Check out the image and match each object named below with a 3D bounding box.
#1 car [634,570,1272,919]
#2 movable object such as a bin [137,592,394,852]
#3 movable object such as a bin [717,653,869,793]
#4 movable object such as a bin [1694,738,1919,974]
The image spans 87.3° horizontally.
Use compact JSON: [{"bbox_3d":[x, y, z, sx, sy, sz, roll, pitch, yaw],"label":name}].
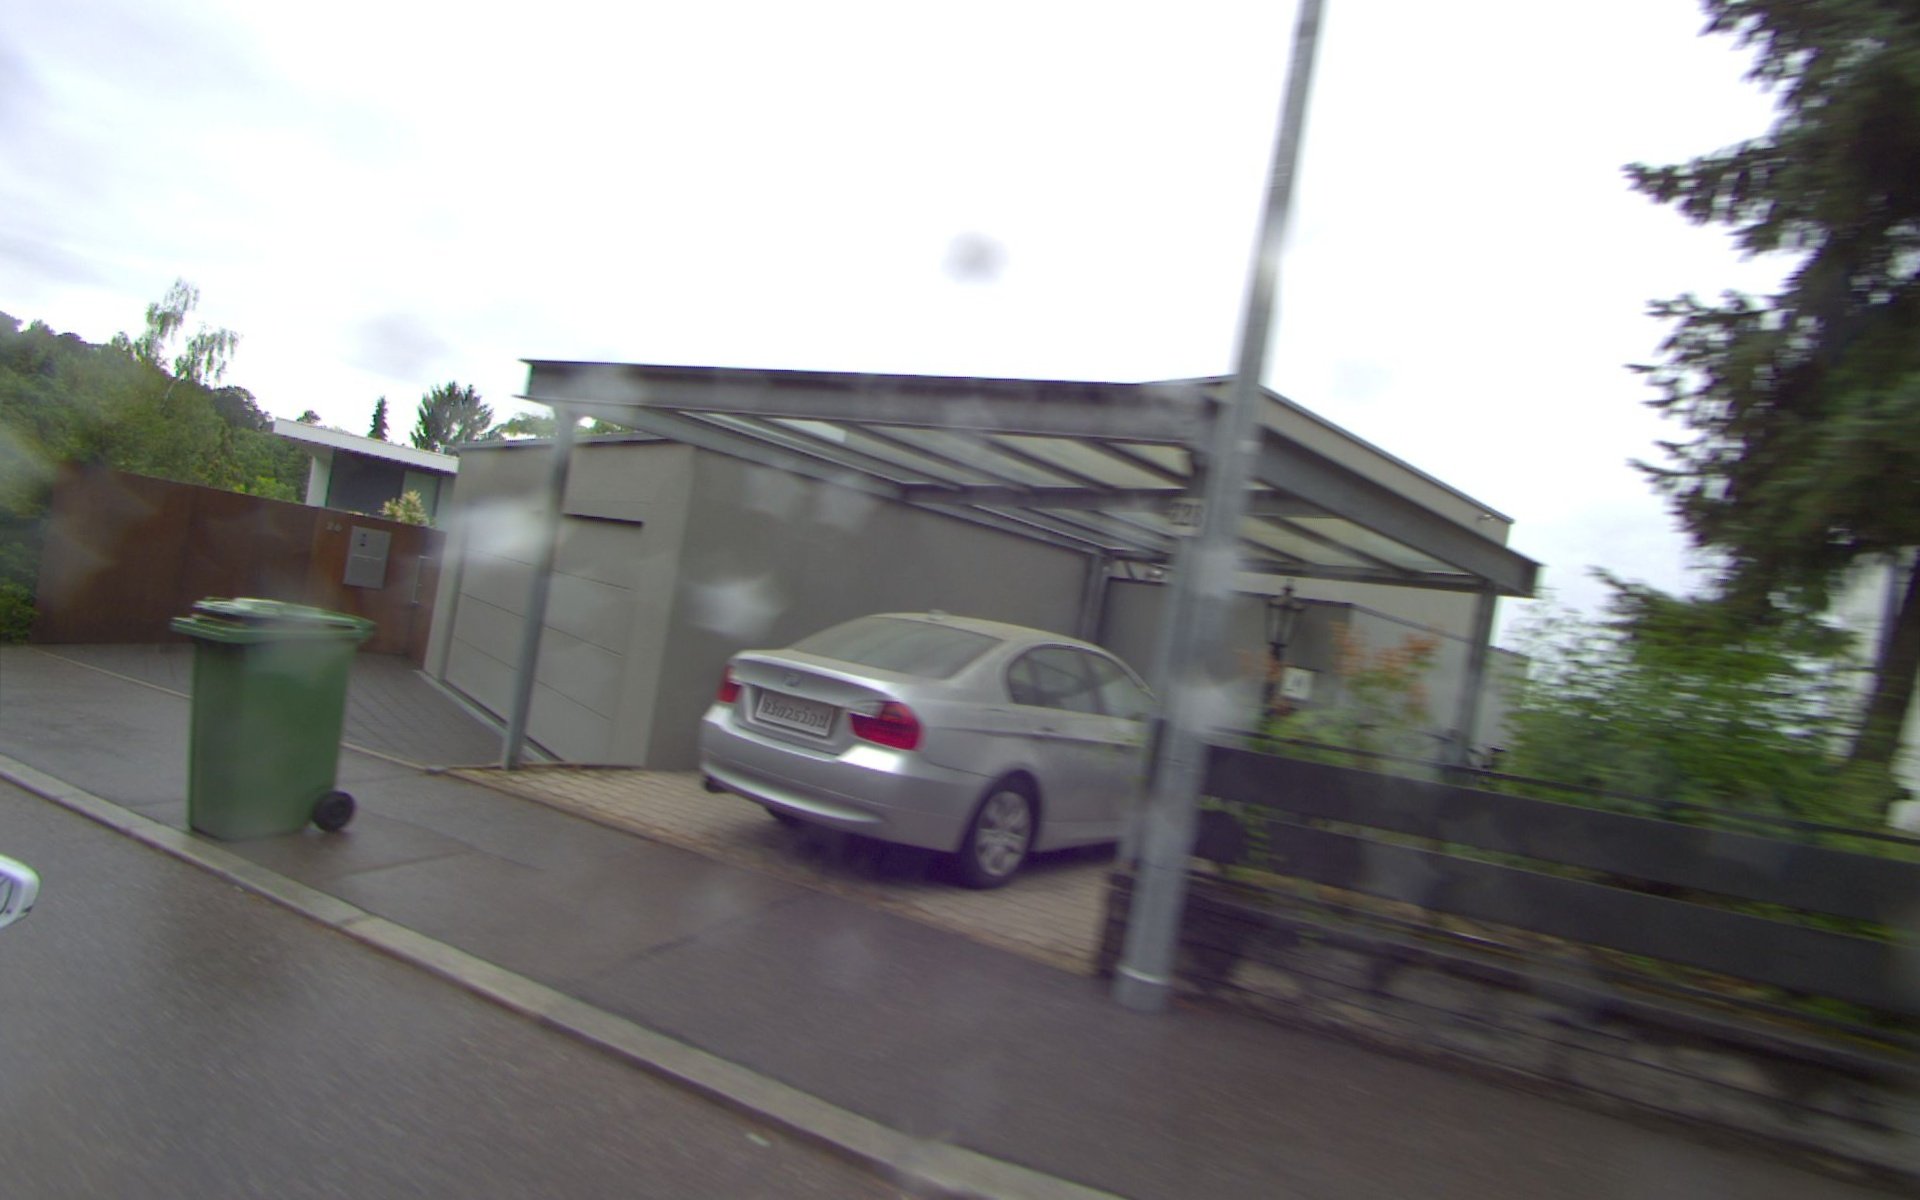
[{"bbox_3d":[0.296,0.882,6.671,1.913,1.430,4.219,6,-4,38],"label":"car"},{"bbox_3d":[-3.437,0.560,5.009,0.664,1.110,0.790,7,2,29],"label":"movable object such as a bin"},{"bbox_3d":[-1.280,0.948,7.788,0.945,0.966,0.497,7,0,-42],"label":"movable object such as a bin"},{"bbox_3d":[4.768,1.379,5.639,0.765,1.051,0.798,10,-3,23],"label":"movable object such as a bin"}]
